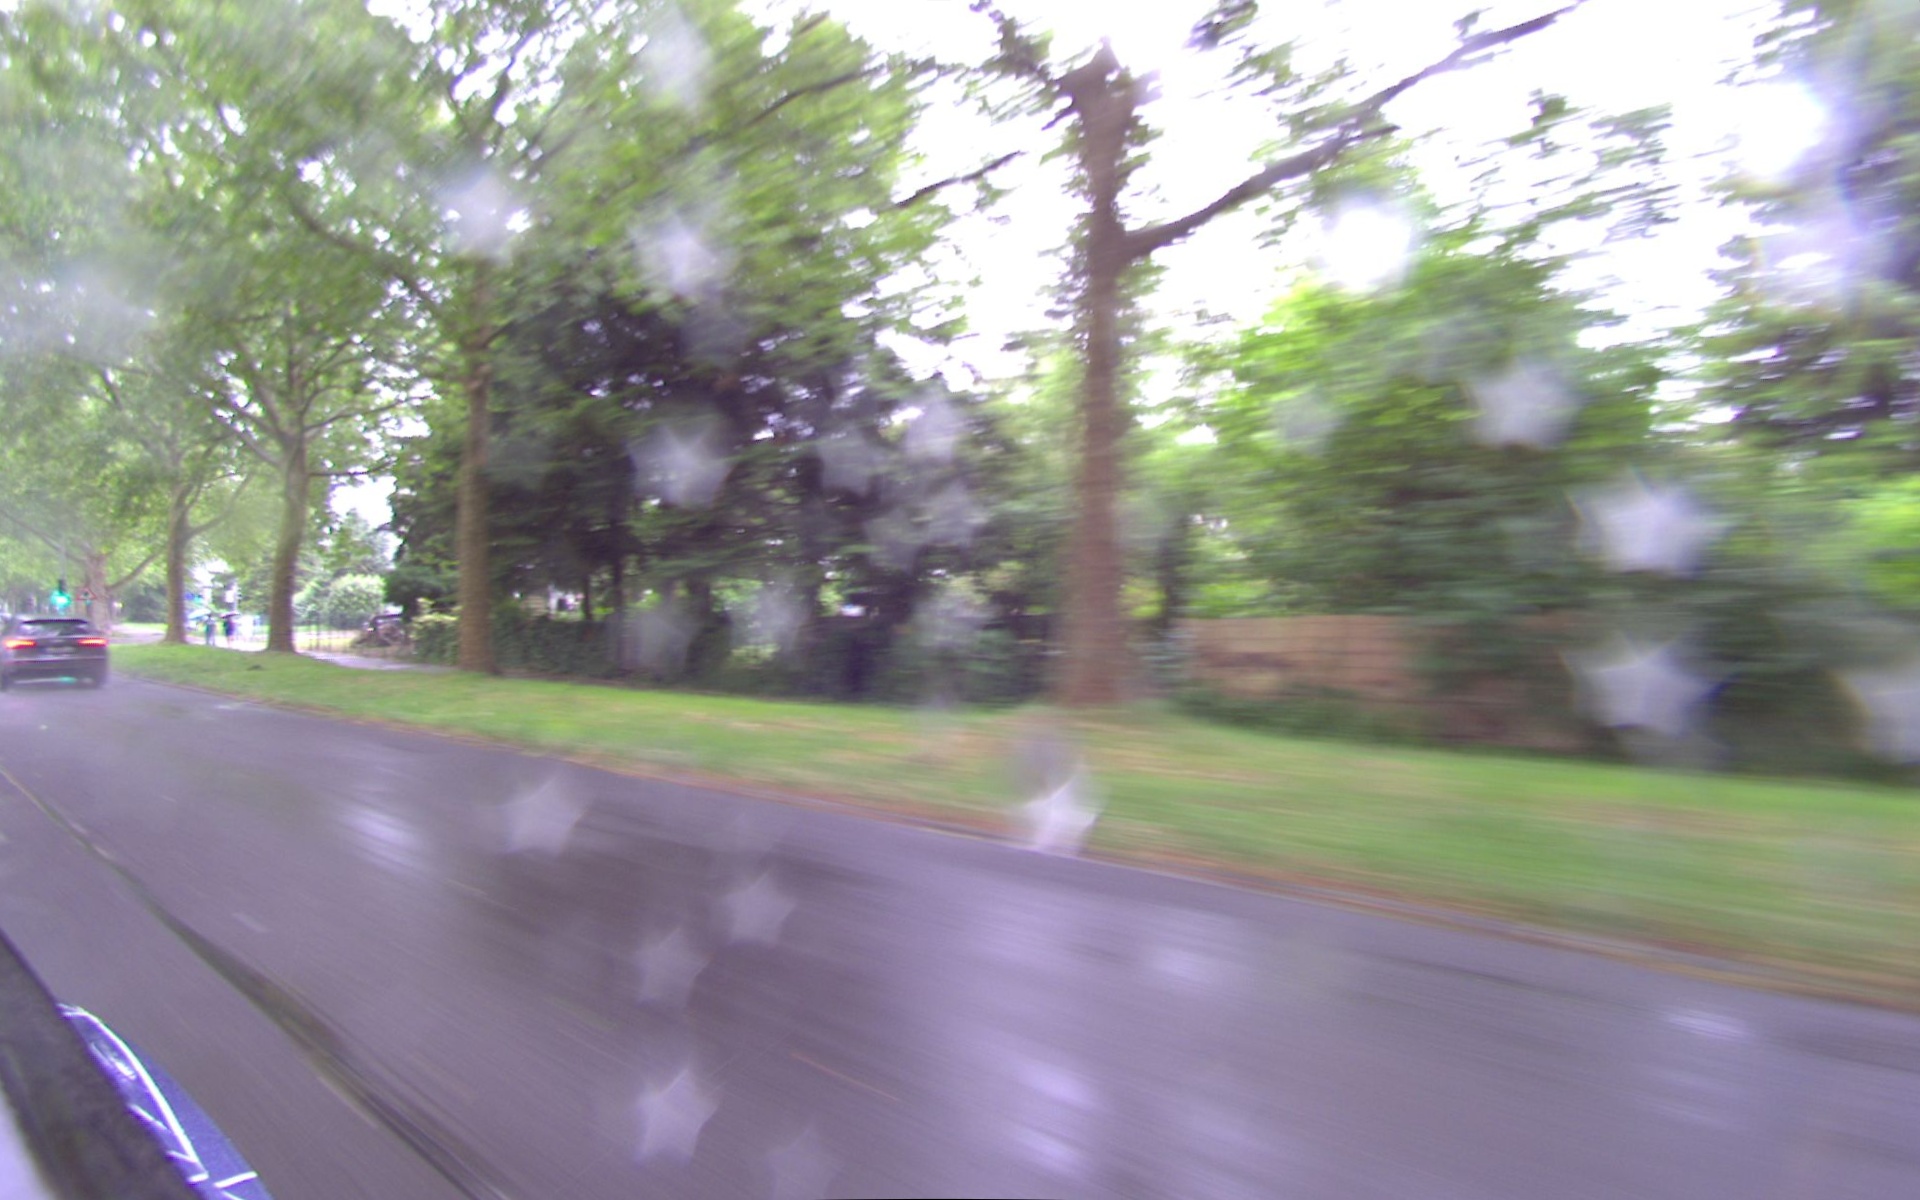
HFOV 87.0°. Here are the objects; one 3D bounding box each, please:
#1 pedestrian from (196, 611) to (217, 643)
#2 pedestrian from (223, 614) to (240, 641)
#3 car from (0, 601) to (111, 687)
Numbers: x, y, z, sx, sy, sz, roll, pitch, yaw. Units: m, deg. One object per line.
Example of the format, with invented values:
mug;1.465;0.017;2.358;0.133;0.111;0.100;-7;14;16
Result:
pedestrian;-34.899;1.239;46.867;0.857;1.464;0.591;-1;0;44
pedestrian;-34.225;1.293;47.536;0.849;1.271;0.510;-1;0;44
car;-21.054;0.945;23.199;4.453;1.741;1.789;-1;1;42
